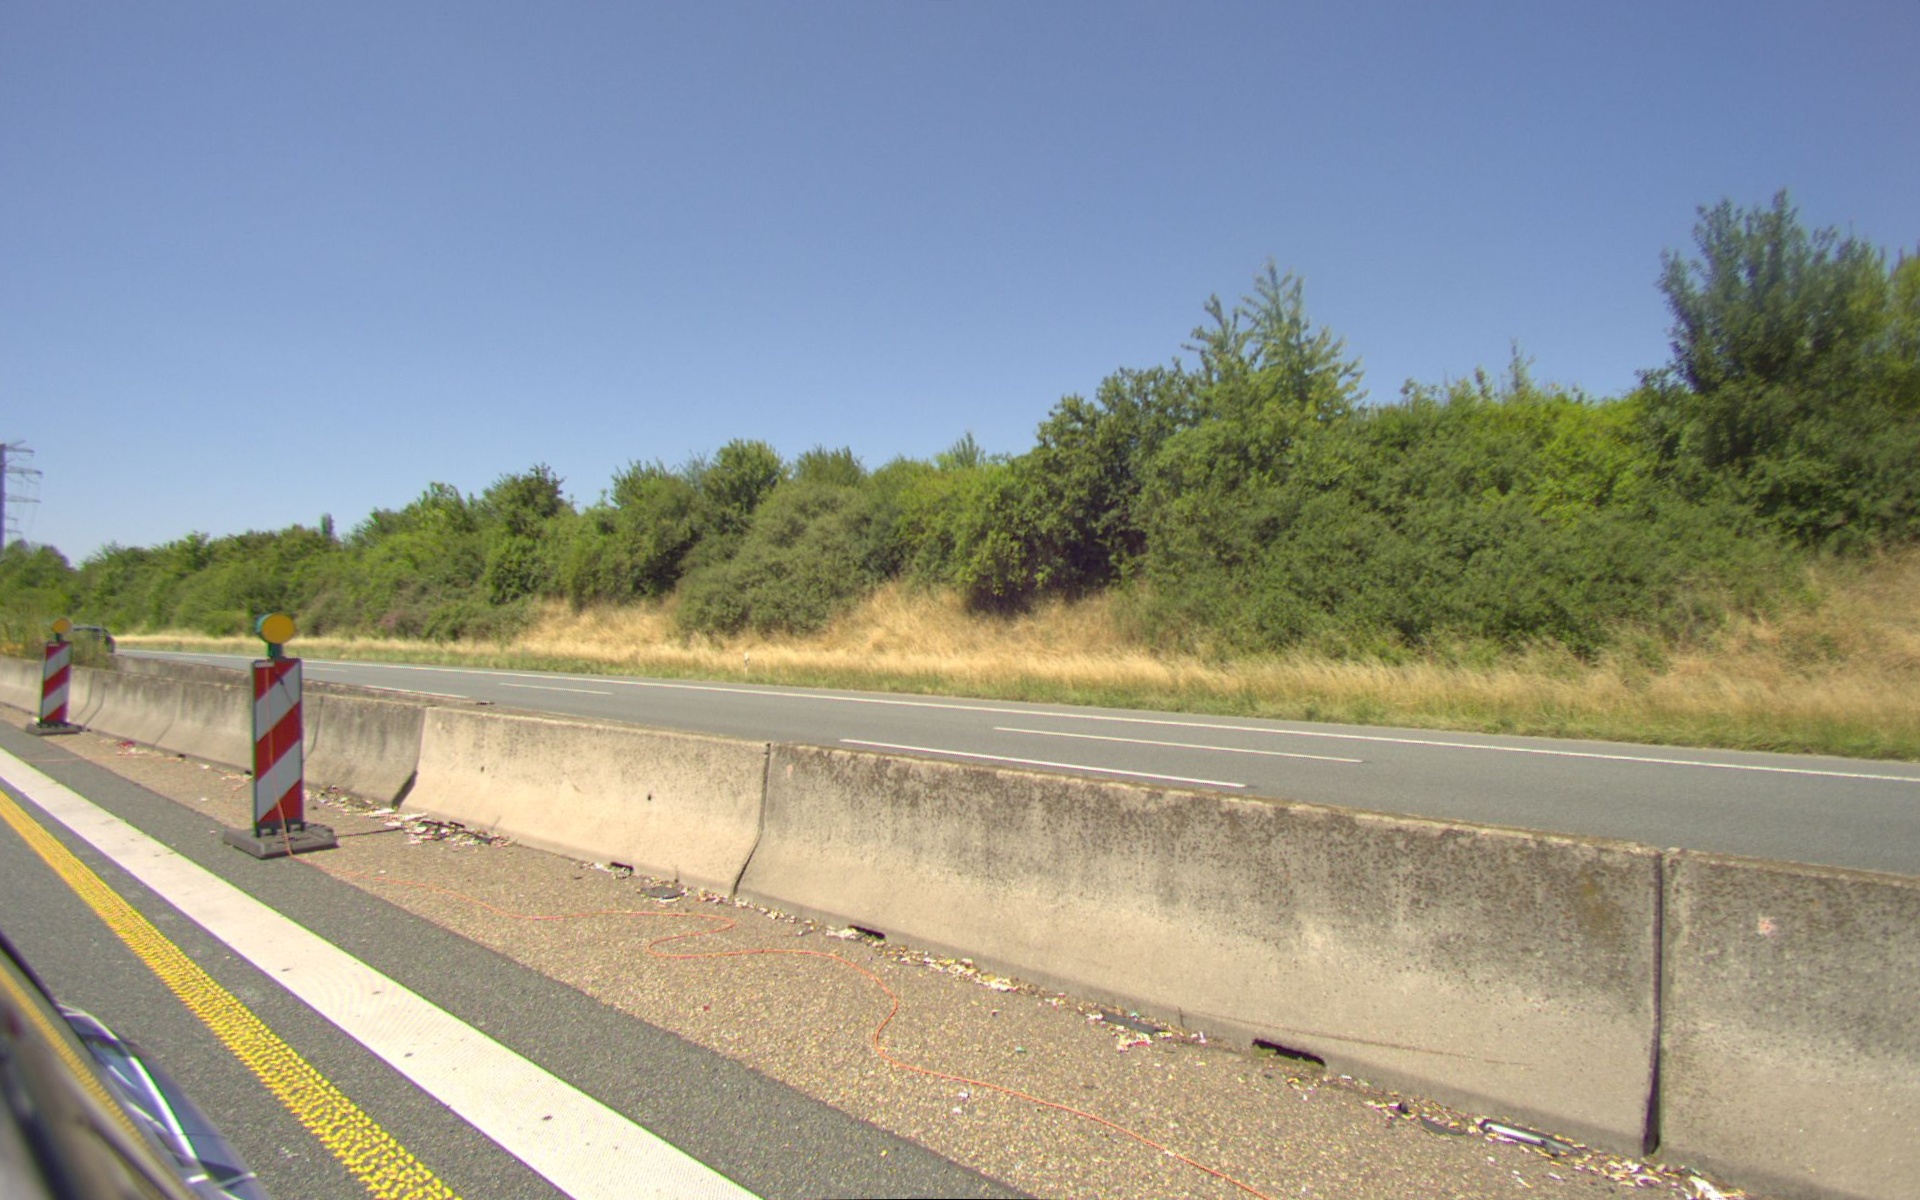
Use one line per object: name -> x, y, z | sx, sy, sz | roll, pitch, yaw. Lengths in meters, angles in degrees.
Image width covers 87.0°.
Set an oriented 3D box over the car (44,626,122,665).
car -> -36.315, 1.861, 41.871 | 4.491, 1.502, 1.843 | -1, -3, 41
